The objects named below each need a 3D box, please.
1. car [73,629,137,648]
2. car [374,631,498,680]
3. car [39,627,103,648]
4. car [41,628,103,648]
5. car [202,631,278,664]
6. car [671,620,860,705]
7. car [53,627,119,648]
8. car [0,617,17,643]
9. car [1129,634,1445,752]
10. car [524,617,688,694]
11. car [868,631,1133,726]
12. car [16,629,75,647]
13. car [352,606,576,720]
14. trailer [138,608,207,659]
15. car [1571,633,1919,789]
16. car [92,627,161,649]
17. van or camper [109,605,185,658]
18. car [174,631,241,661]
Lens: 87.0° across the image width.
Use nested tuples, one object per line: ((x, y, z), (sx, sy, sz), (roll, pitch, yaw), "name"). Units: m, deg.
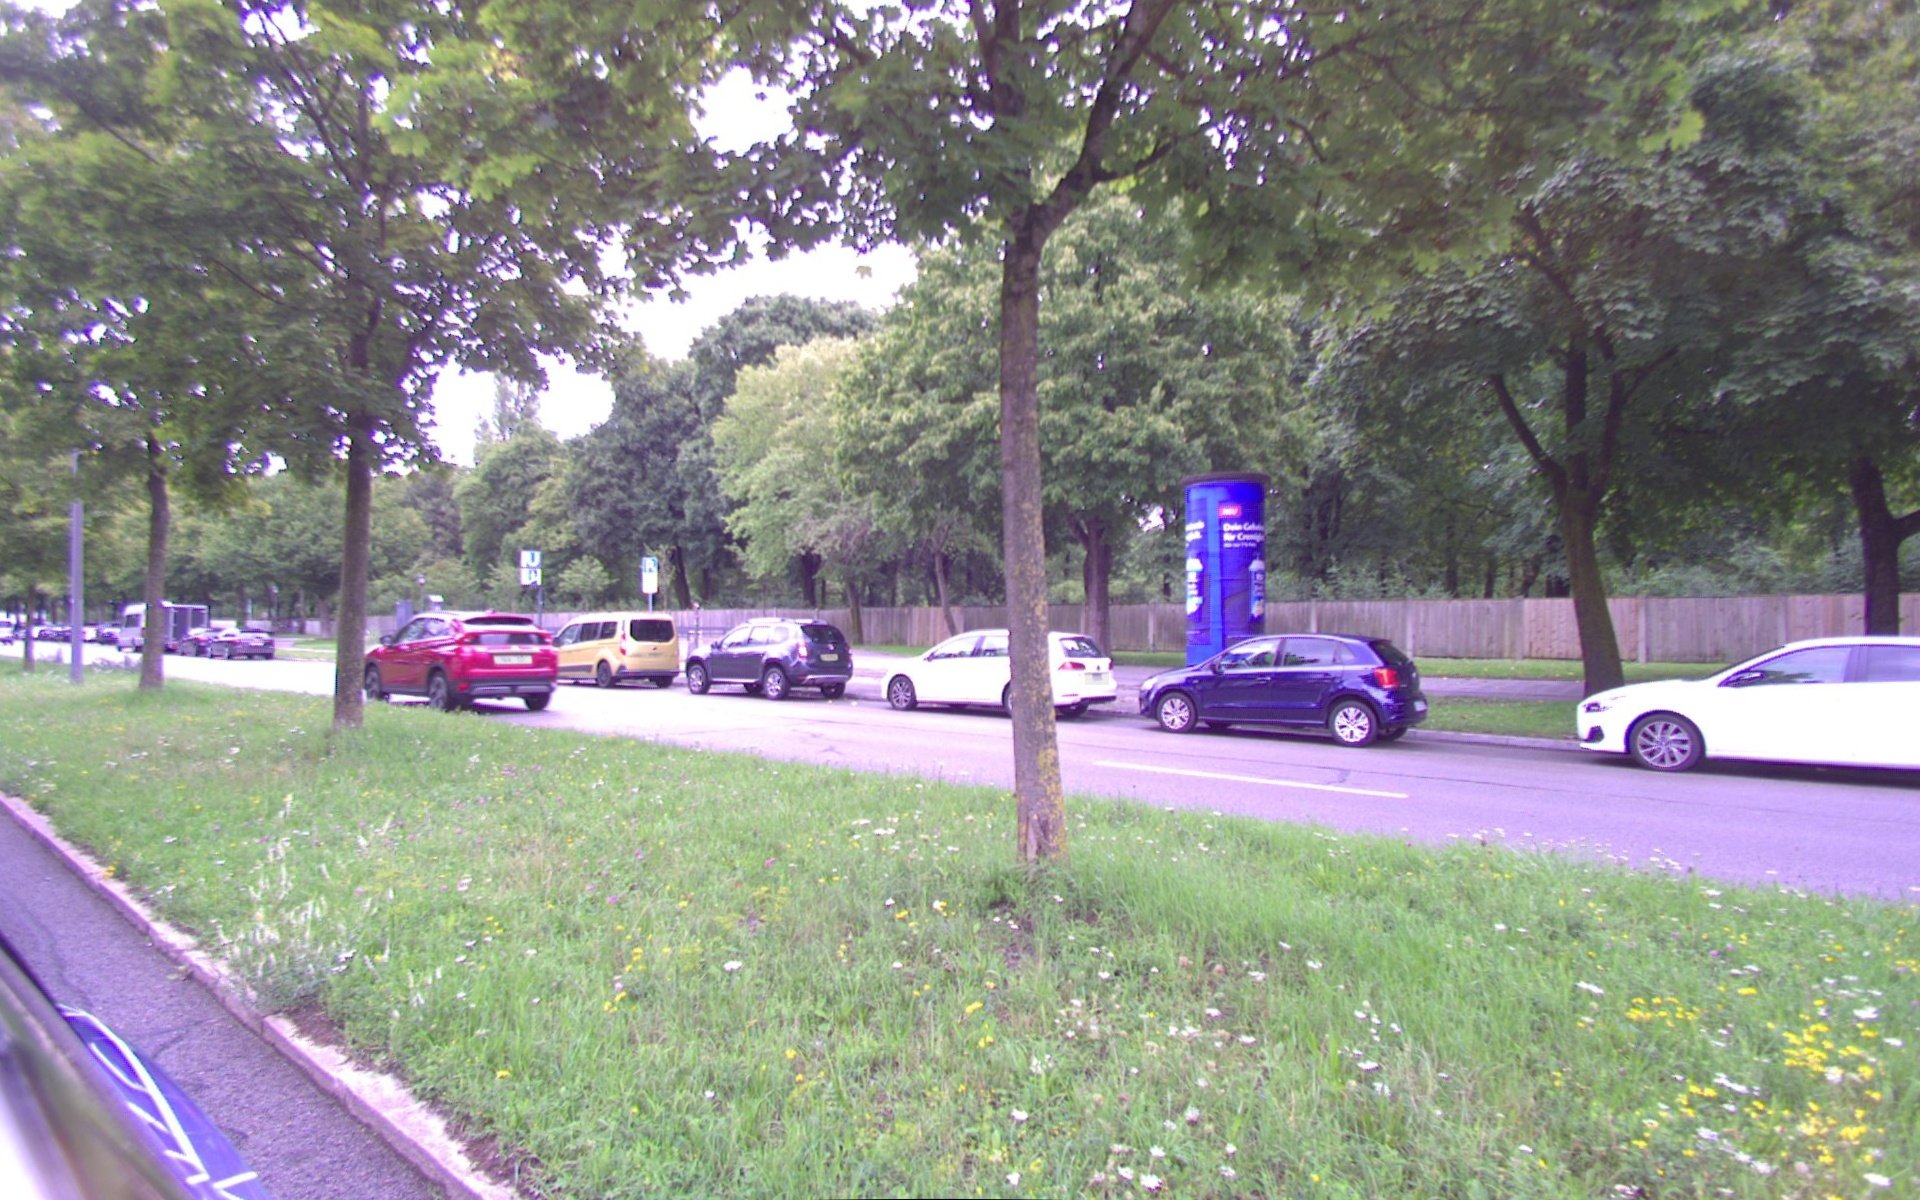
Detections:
((-73.339, 3.292, 86.858), (1.722, 1.466, 3.984), (-2, 0, 13), "car")
((-17.179, 1.771, 33.066), (4.871, 1.484, 1.838), (-2, -3, 40), "car")
((-78.473, 3.297, 89.378), (1.869, 1.569, 3.990), (-2, 0, 8), "car")
((-80.868, 3.456, 92.204), (1.869, 1.569, 3.990), (-2, 0, 8), "car")
((-33.033, 2.163, 46.389), (4.428, 1.436, 1.781), (-2, -3, 41), "car")
((-4.272, 1.302, 21.922), (4.252, 1.658, 1.719), (-2, -3, 40), "car")
((-76.121, 3.259, 88.193), (1.872, 1.569, 3.984), (-2, 0, 13), "car")
((-73.644, 2.286, 77.271), (4.990, 1.948, 1.781), (-1, -3, 40), "car")
((4.458, 1.195, 14.095), (3.892, 1.428, 1.597), (-1, -3, 38), "car")
((-9.094, 1.369, 25.780), (4.815, 1.796, 1.795), (-2, -3, 42), "car")
((0.609, 1.286, 17.716), (4.529, 1.461, 1.744), (-2, -3, 40), "car")
((-90.097, 3.711, 99.766), (1.869, 1.569, 3.990), (-2, 0, 8), "car")
((-8.509, 1.019, 17.214), (4.243, 1.709, 1.884), (-2, -3, 41), "car")
((-42.418, 1.824, 54.466), (4.656, 2.610, 1.996), (-2, -3, 41), "trailer")
((8.976, 1.084, 10.531), (4.276, 1.455, 1.590), (-2, -3, 41), "car")
((-64.427, 2.940, 78.303), (1.779, 1.497, 3.993), (-2, 0, 6), "car")
((-47.013, 1.832, 58.462), (7.542, 2.859, 2.014), (-2, -3, 41), "van or camper")
((-37.696, 2.289, 50.642), (4.235, 1.394, 1.781), (-2, -3, 41), "car")
